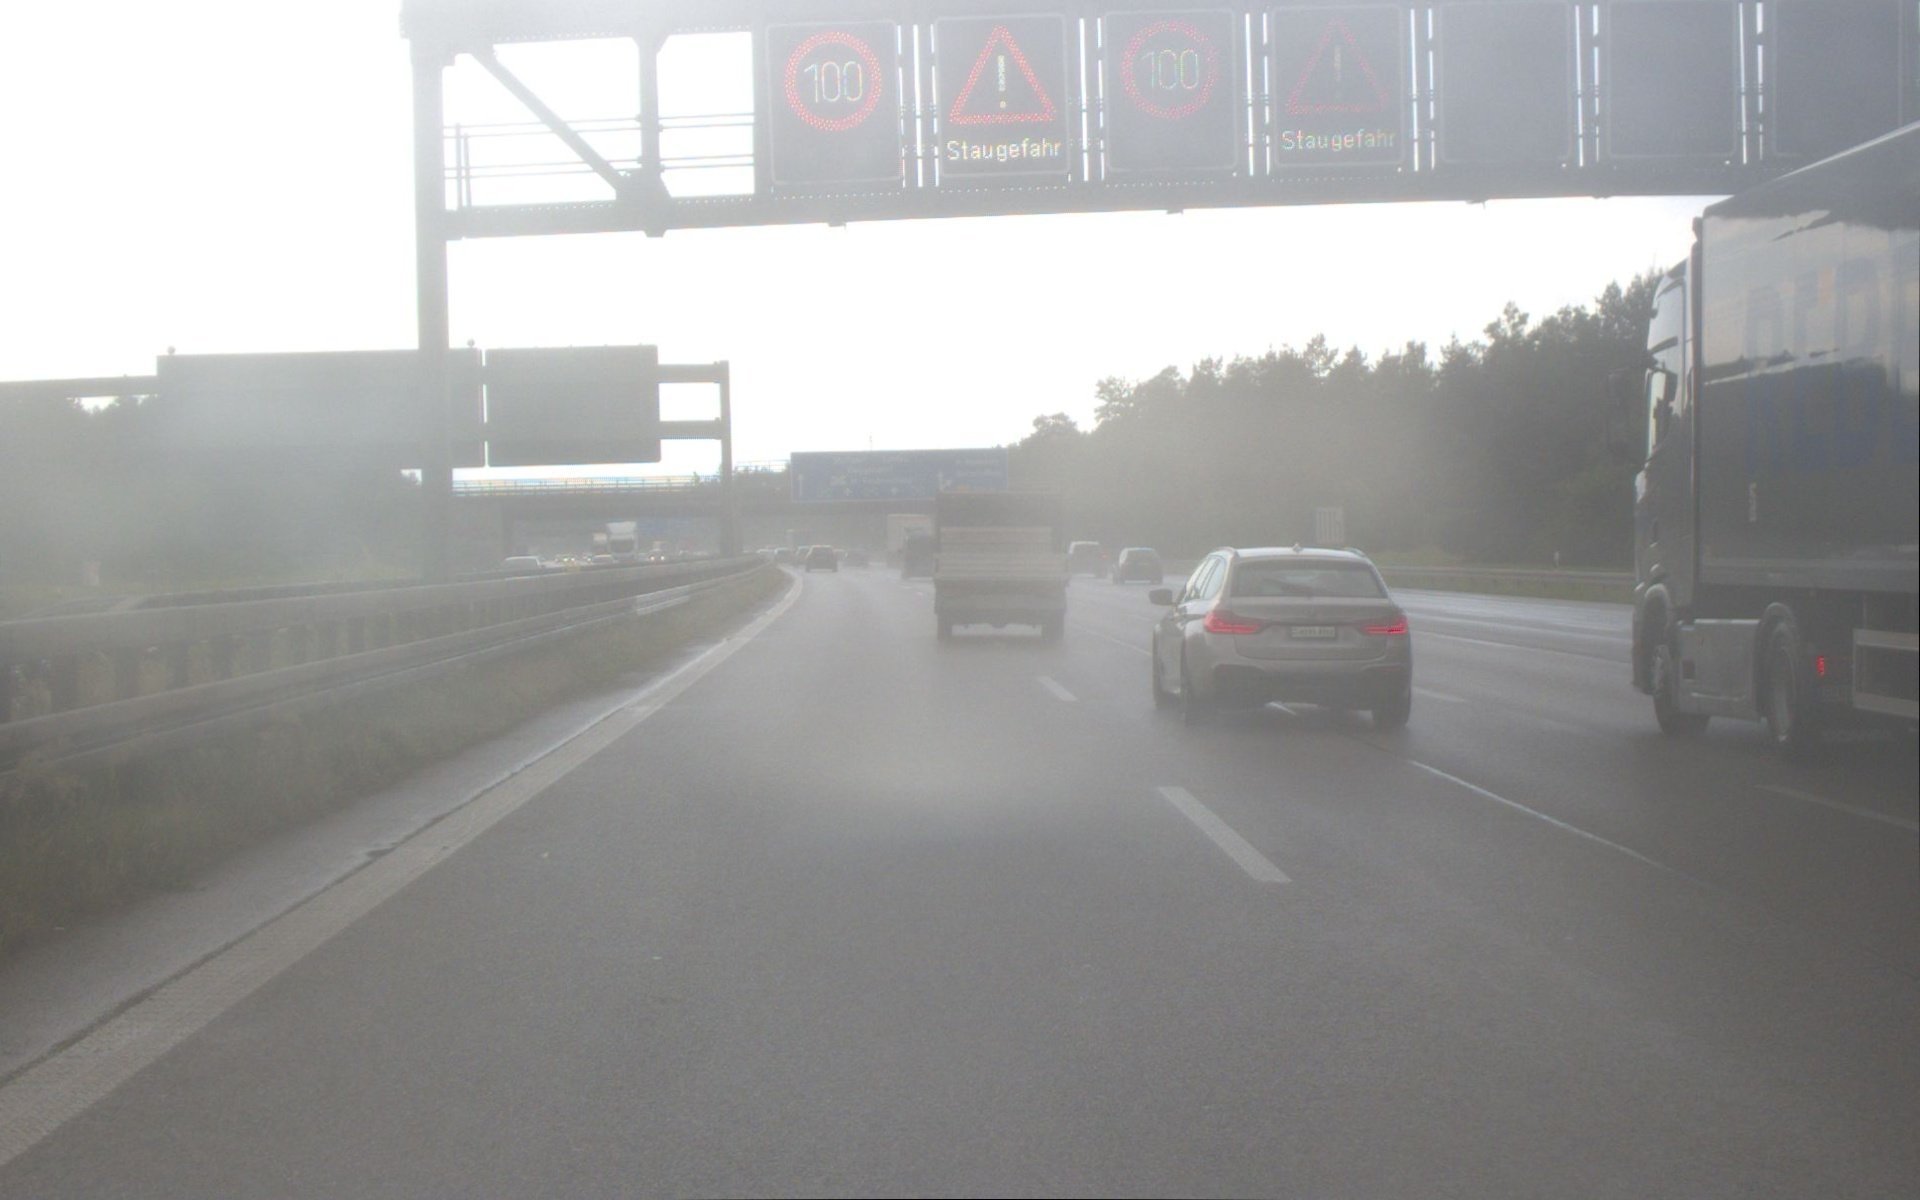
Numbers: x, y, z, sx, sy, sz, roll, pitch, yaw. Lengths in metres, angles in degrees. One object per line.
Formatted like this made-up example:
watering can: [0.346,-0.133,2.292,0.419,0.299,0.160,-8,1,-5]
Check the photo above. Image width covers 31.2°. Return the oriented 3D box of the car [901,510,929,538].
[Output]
car: [-3.351,-5.674,256.440,1.993,2.007,4.000,1,1,-1]

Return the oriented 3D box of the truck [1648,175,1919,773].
truck: [6.704,-0.860,24.885,2.293,3.854,5.392,0,1,-1]

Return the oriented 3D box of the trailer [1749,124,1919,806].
trailer: [6.808,-0.739,17.537,2.323,3.988,13.413,0,1,-1]

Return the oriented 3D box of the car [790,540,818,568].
car: [-11.678,-3.455,257.717,1.795,2.007,4.000,1,1,1]

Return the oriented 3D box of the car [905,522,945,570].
car: [-1.522,-2.350,149.004,1.674,2.007,4.000,1,1,-1]

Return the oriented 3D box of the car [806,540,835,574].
car: [-8.534,-2.663,210.443,1.617,2.007,4.000,1,1,-1]

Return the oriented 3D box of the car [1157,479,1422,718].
car: [2.814,-0.061,29.575,2.078,1.878,5.010,0,1,5]

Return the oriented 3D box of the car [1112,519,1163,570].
car: [7.199,-2.260,139.573,1.994,2.007,4.000,1,1,3]

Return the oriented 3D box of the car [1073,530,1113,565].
car: [6.498,-2.566,167.871,1.741,1.683,4.000,0,1,-1]

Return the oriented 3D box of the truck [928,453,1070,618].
truck: [0.676,-1.037,54.609,2.137,2.480,5.313,0,1,2]
